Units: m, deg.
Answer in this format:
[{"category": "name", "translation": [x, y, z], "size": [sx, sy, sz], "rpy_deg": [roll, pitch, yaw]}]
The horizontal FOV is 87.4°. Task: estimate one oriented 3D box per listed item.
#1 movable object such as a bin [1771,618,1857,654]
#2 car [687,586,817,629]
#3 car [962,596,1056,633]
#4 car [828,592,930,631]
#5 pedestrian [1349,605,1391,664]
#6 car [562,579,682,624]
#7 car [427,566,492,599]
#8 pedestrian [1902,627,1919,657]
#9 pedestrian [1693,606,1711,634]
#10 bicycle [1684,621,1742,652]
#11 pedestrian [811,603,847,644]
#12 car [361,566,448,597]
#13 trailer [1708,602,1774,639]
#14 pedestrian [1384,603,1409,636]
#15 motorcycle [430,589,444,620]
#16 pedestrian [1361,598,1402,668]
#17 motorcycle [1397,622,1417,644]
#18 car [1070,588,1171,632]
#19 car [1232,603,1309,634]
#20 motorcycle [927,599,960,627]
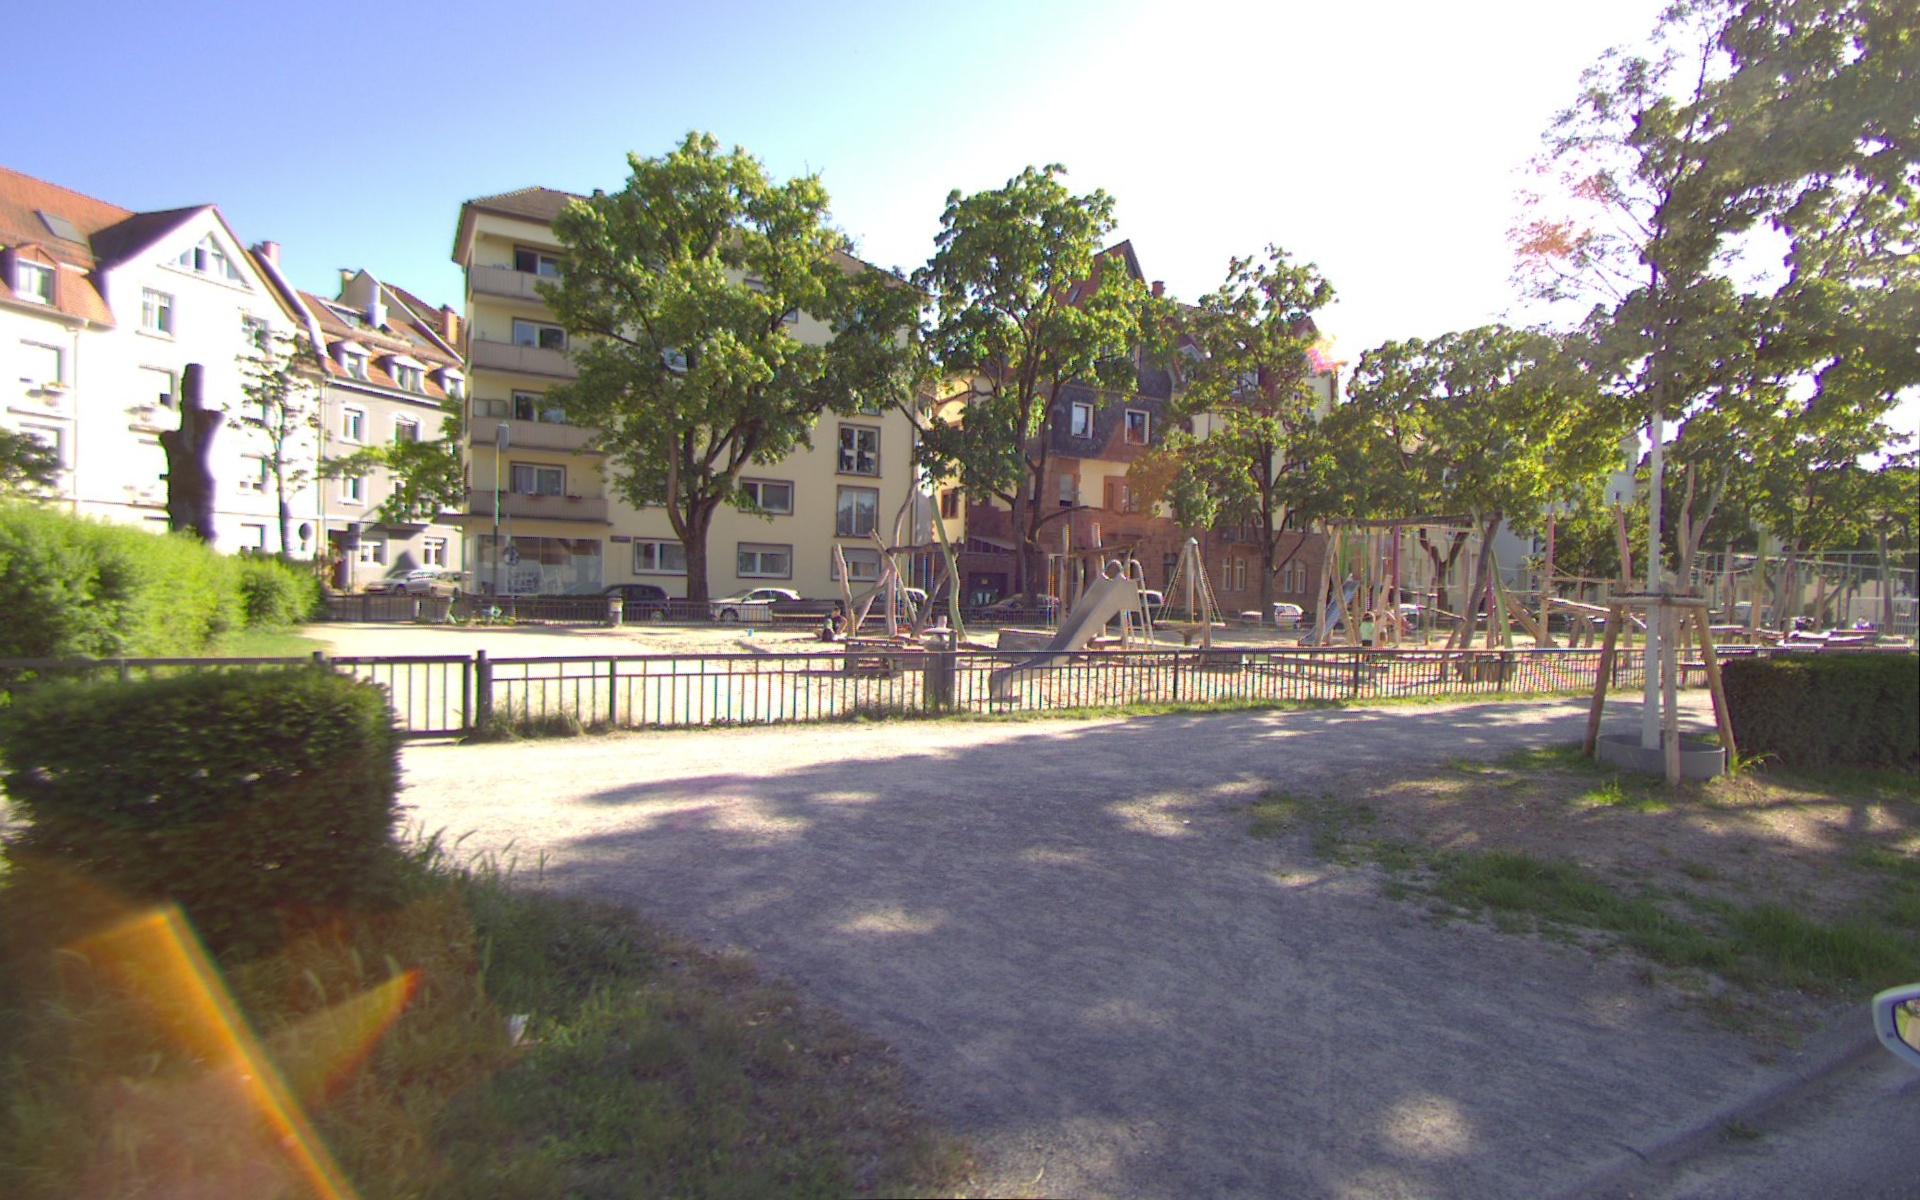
[{"category": "movable object such as a bin", "translation": [32.583, 1.346, 38.352], "size": [1.045, 1.258, 2.316], "rpy_deg": [1, 0, -33]}, {"category": "car", "translation": [-8.213, 0.317, 39.778], "size": [4.710, 1.530, 1.896], "rpy_deg": [1, 1, -31]}, {"category": "car", "translation": [2.237, 0.672, 45.795], "size": [3.952, 1.530, 1.786], "rpy_deg": [2, 1, -30]}, {"category": "car", "translation": [-3.458, 0.495, 42.883], "size": [3.952, 1.530, 1.786], "rpy_deg": [2, 1, -30]}, {"category": "pedestrian", "translation": [9.745, 0.816, 23.880], "size": [0.639, 1.347, 0.649], "rpy_deg": [2, 1, -11]}, {"category": "car", "translation": [-12.553, 0.076, 37.344], "size": [3.952, 1.530, 1.786], "rpy_deg": [2, 1, -30]}, {"category": "car", "translation": [-24.454, -0.851, 49.013], "size": [1.787, 1.530, 3.949], "rpy_deg": [2, 0, -43]}, {"category": "pedestrian", "translation": [44.115, 1.924, 46.333], "size": [0.637, 1.336, 0.650], "rpy_deg": [2, 1, 0]}, {"category": "pedestrian", "translation": [45.241, 1.239, 61.277], "size": [0.642, 1.683, 0.645], "rpy_deg": [2, 0, -29]}, {"category": "bicycle", "translation": [29.990, 1.446, 40.032], "size": [0.494, 1.122, 1.785], "rpy_deg": [1, 1, -31]}, {"category": "pedestrian", "translation": [-3.291, 0.593, 25.175], "size": [0.767, 0.992, 0.540], "rpy_deg": [1, 1, -22]}, {"category": "car", "translation": [-30.363, -0.975, 55.052], "size": [1.764, 1.530, 4.000], "rpy_deg": [1, 0, 19]}, {"category": "trailer", "translation": [64.867, 1.684, 83.382], "size": [5.735, 2.909, 2.331], "rpy_deg": [1, 1, -31]}, {"category": "pedestrian", "translation": [17.688, 0.786, 40.669], "size": [0.643, 1.336, 0.644], "rpy_deg": [1, 1, -33]}, {"category": "motorcycle", "translation": [-17.542, 0.151, 33.712], "size": [0.455, 1.004, 0.190], "rpy_deg": [2, 1, 32]}, {"category": "pedestrian", "translation": [10.526, 0.818, 25.105], "size": [0.639, 1.683, 0.649], "rpy_deg": [2, 1, -11]}, {"category": "motorcycle", "translation": [18.329, 1.348, 41.161], "size": [0.281, 0.838, 0.698], "rpy_deg": [1, 1, -31]}, {"category": "car", "translation": [7.889, 0.482, 49.116], "size": [4.777, 2.009, 1.786], "rpy_deg": [2, 1, -30]}, {"category": "car", "translation": [16.981, 1.003, 54.904], "size": [3.952, 1.530, 1.786], "rpy_deg": [2, 1, -30]}, {"category": "motorcycle", "translation": [-0.743, 0.568, 44.227], "size": [0.495, 1.122, 1.781], "rpy_deg": [2, 1, -37]}]
